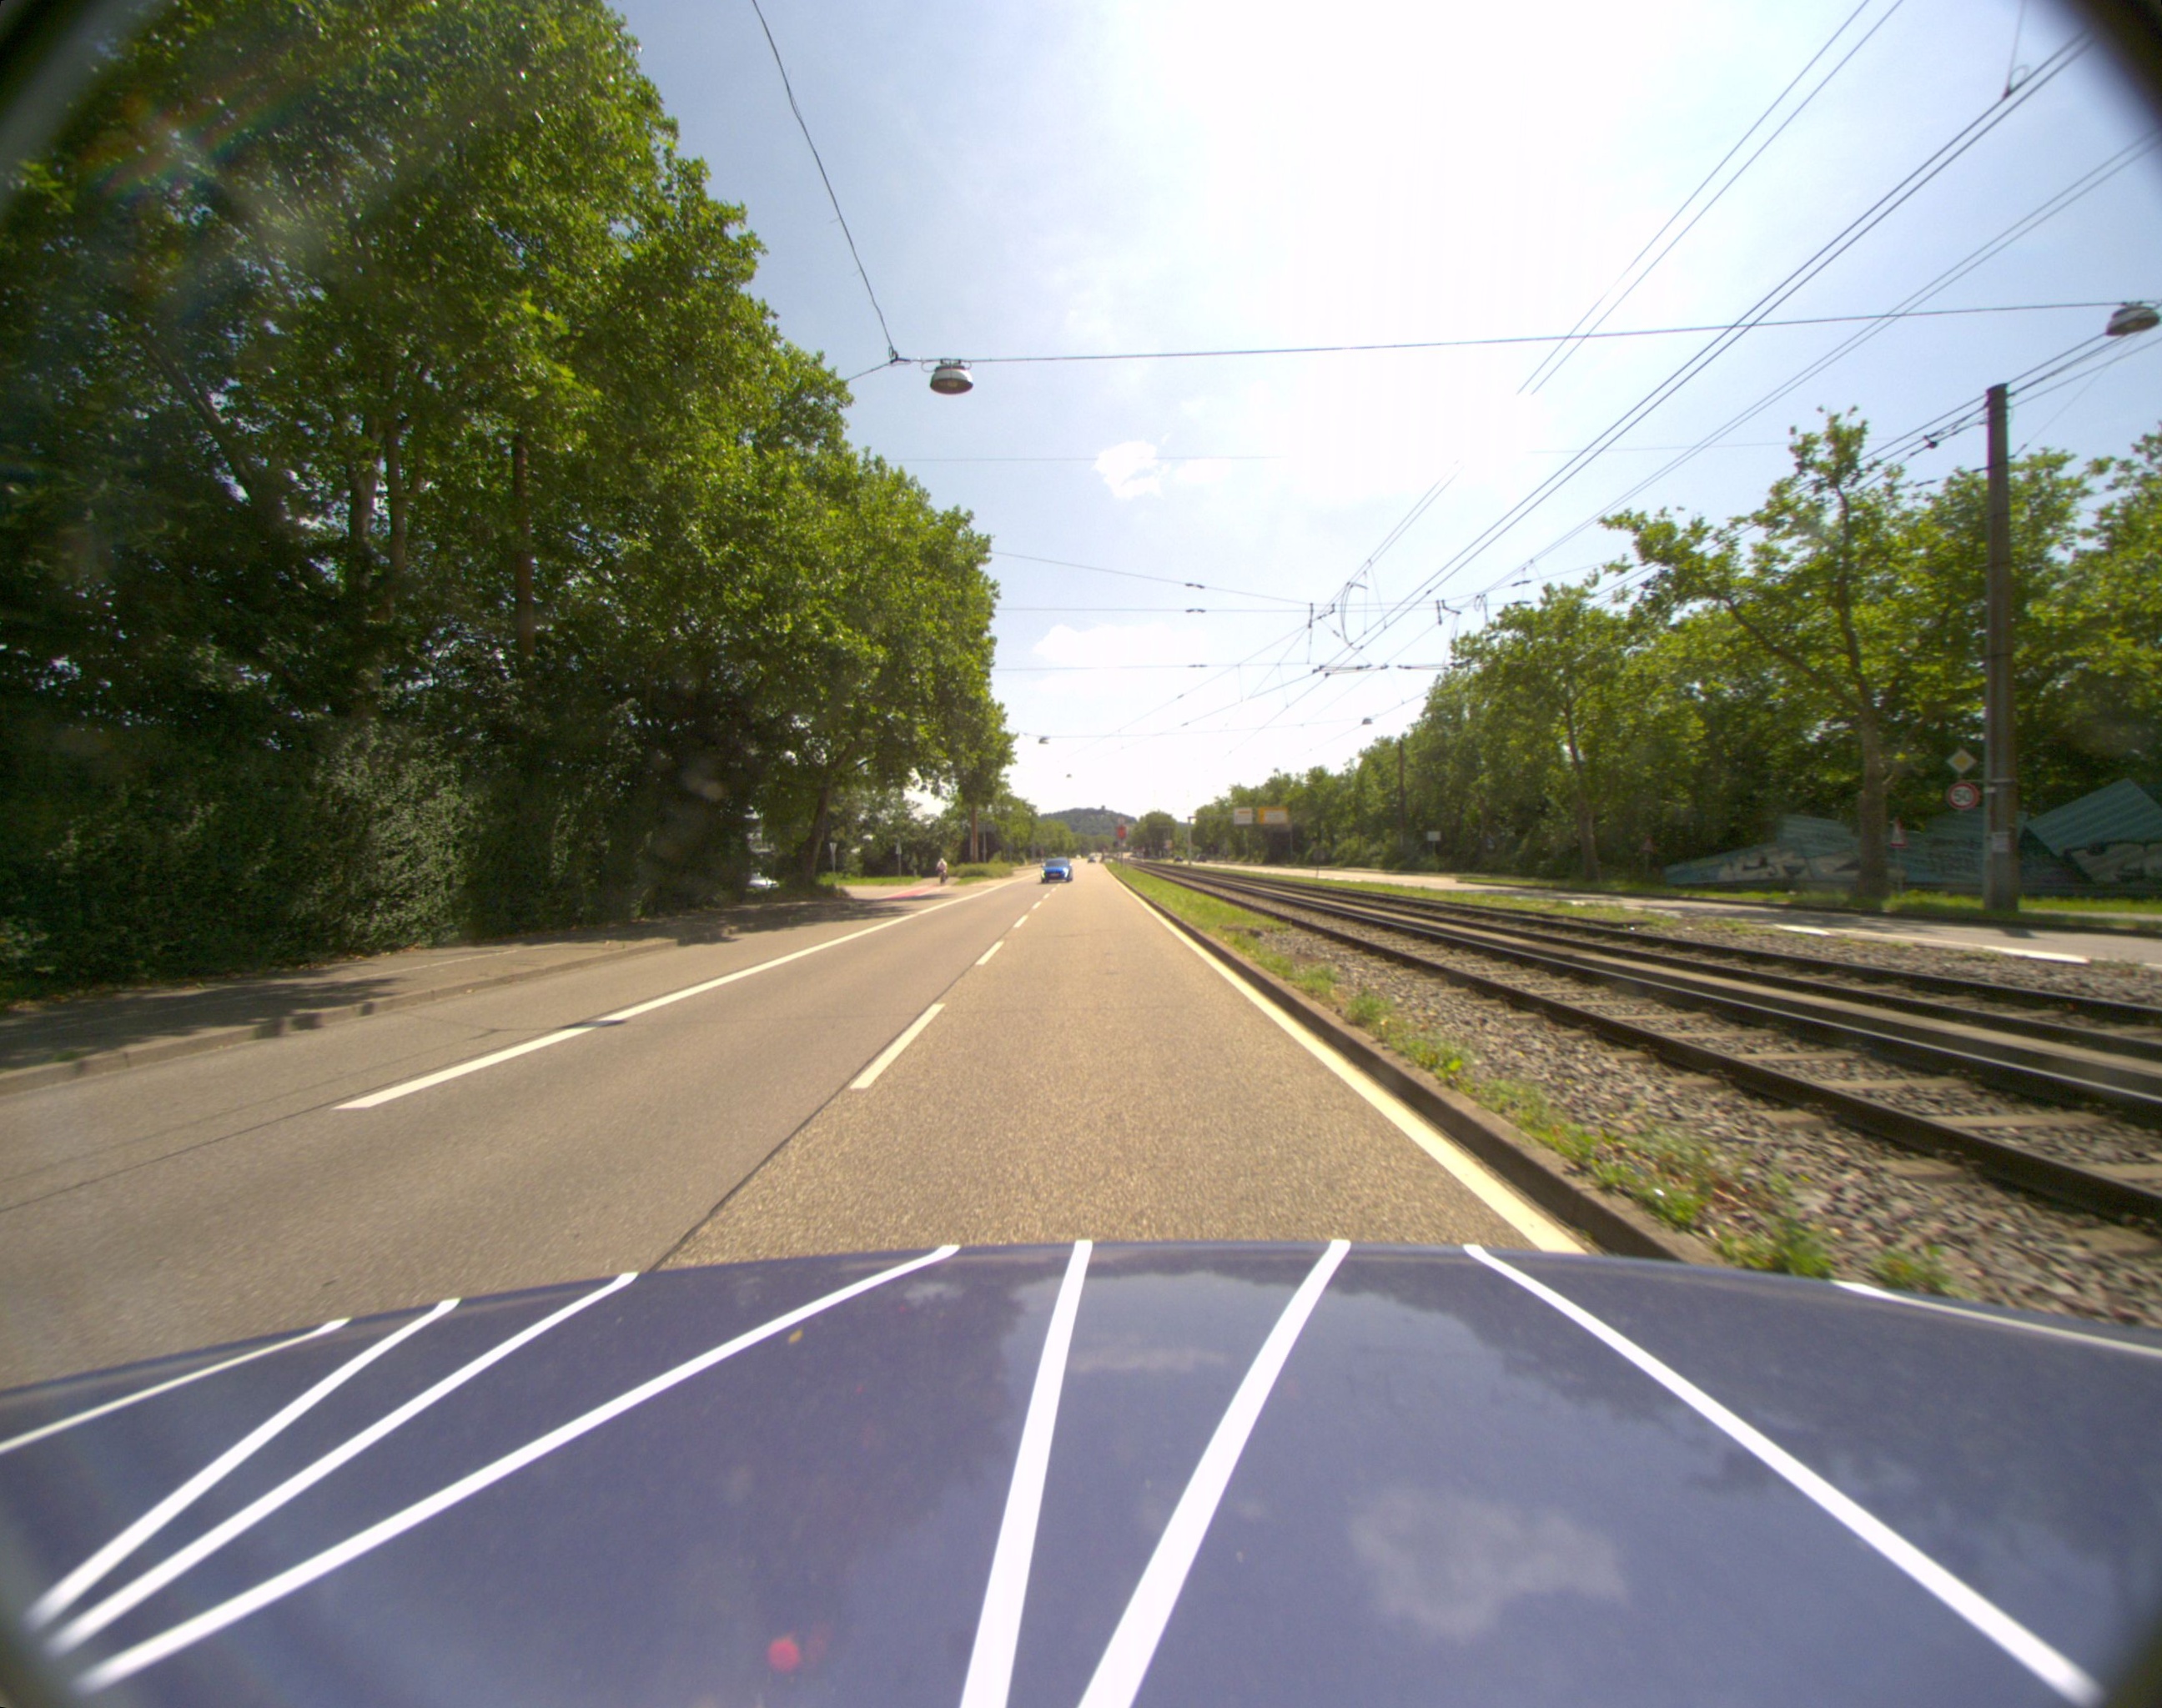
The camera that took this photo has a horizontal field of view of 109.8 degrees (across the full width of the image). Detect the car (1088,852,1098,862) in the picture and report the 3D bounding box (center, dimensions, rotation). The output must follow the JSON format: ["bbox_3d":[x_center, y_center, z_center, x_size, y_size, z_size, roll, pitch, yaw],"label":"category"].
[{"bbox_3d":[2.585,0.706,166.654,1.998,2.002,3.999,-2,1,1],"label":"car"}]

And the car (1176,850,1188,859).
[{"bbox_3d":[21.347,0.167,160.659,1.998,1.783,3.999,-2,1,1],"label":"car"}]

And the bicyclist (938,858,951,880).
[{"bbox_3d":[-8.829,0.965,49.260,0.704,1.431,0.641,-1,1,2],"label":"bicyclist"}]

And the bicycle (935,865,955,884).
[{"bbox_3d":[-8.830,1.315,49.309,0.710,1.131,2.538,-1,0,2],"label":"bicycle"}]

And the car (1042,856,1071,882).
[{"bbox_3d":[-1.471,0.903,46.736,1.660,1.397,3.743,-2,1,0],"label":"car"}]

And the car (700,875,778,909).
[{"bbox_3d":[-21.161,2.294,47.148,1.995,1.849,4.007,0,0,29],"label":"car"}]

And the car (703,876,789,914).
[{"bbox_3d":[-18.797,2.252,42.819,1.995,1.849,4.007,0,0,29],"label":"car"}]

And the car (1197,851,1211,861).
[{"bbox_3d":[24.356,0.341,150.361,1.998,1.783,3.999,-2,1,1],"label":"car"}]

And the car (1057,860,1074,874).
[{"bbox_3d":[-1.764,1.478,86.425,1.769,1.359,3.743,-2,1,1],"label":"car"}]
